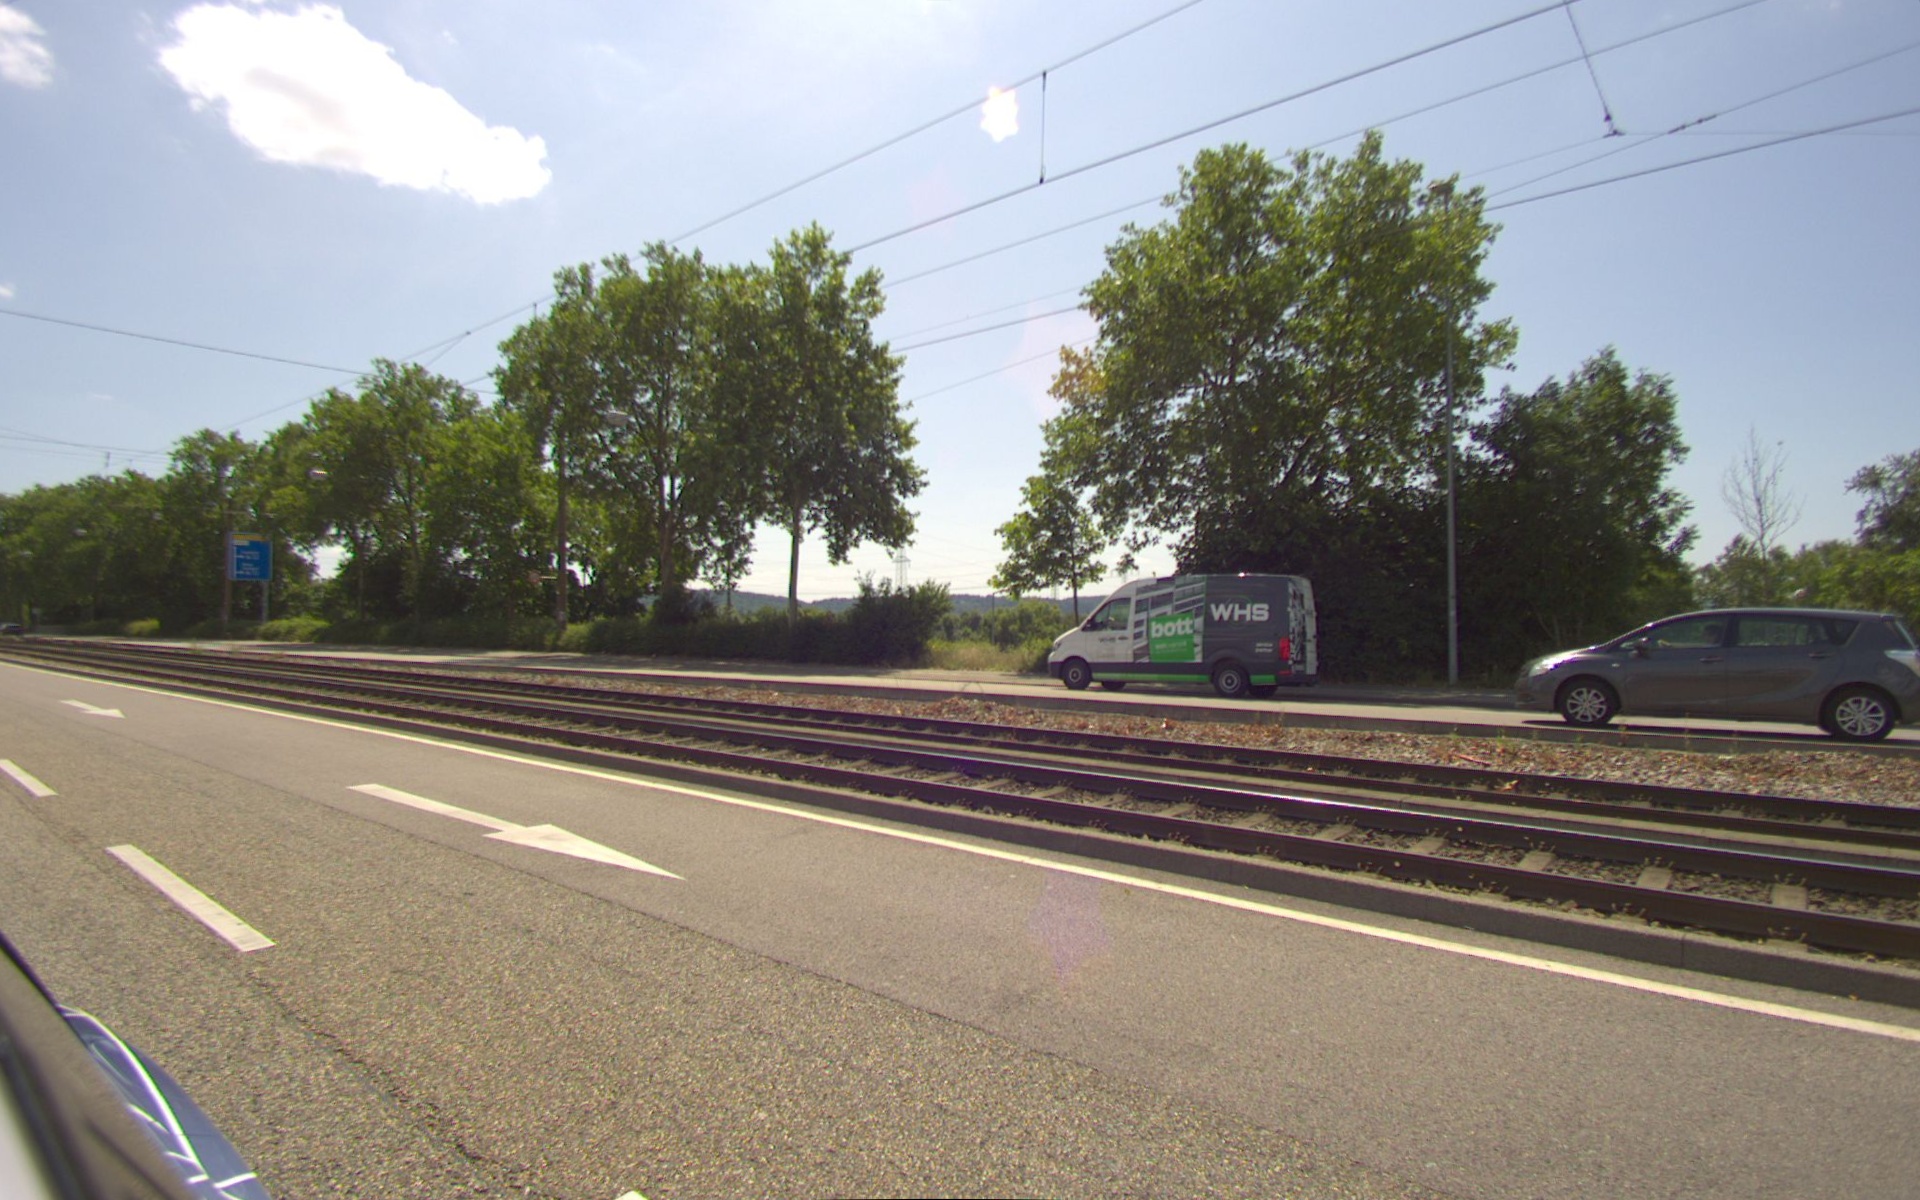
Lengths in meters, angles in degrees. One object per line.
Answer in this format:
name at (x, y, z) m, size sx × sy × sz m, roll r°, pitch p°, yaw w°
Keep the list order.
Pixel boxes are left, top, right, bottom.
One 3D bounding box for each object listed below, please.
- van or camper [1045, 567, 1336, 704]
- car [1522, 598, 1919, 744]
van or camper at (4.866, 0.747, 21.858) m, size 5.830 × 2.606 × 1.976 m, roll -1°, pitch -3°, yaw 35°
car at (9.939, 0.855, 13.303) m, size 4.257 × 1.649 × 1.975 m, roll -1°, pitch -2°, yaw 36°
